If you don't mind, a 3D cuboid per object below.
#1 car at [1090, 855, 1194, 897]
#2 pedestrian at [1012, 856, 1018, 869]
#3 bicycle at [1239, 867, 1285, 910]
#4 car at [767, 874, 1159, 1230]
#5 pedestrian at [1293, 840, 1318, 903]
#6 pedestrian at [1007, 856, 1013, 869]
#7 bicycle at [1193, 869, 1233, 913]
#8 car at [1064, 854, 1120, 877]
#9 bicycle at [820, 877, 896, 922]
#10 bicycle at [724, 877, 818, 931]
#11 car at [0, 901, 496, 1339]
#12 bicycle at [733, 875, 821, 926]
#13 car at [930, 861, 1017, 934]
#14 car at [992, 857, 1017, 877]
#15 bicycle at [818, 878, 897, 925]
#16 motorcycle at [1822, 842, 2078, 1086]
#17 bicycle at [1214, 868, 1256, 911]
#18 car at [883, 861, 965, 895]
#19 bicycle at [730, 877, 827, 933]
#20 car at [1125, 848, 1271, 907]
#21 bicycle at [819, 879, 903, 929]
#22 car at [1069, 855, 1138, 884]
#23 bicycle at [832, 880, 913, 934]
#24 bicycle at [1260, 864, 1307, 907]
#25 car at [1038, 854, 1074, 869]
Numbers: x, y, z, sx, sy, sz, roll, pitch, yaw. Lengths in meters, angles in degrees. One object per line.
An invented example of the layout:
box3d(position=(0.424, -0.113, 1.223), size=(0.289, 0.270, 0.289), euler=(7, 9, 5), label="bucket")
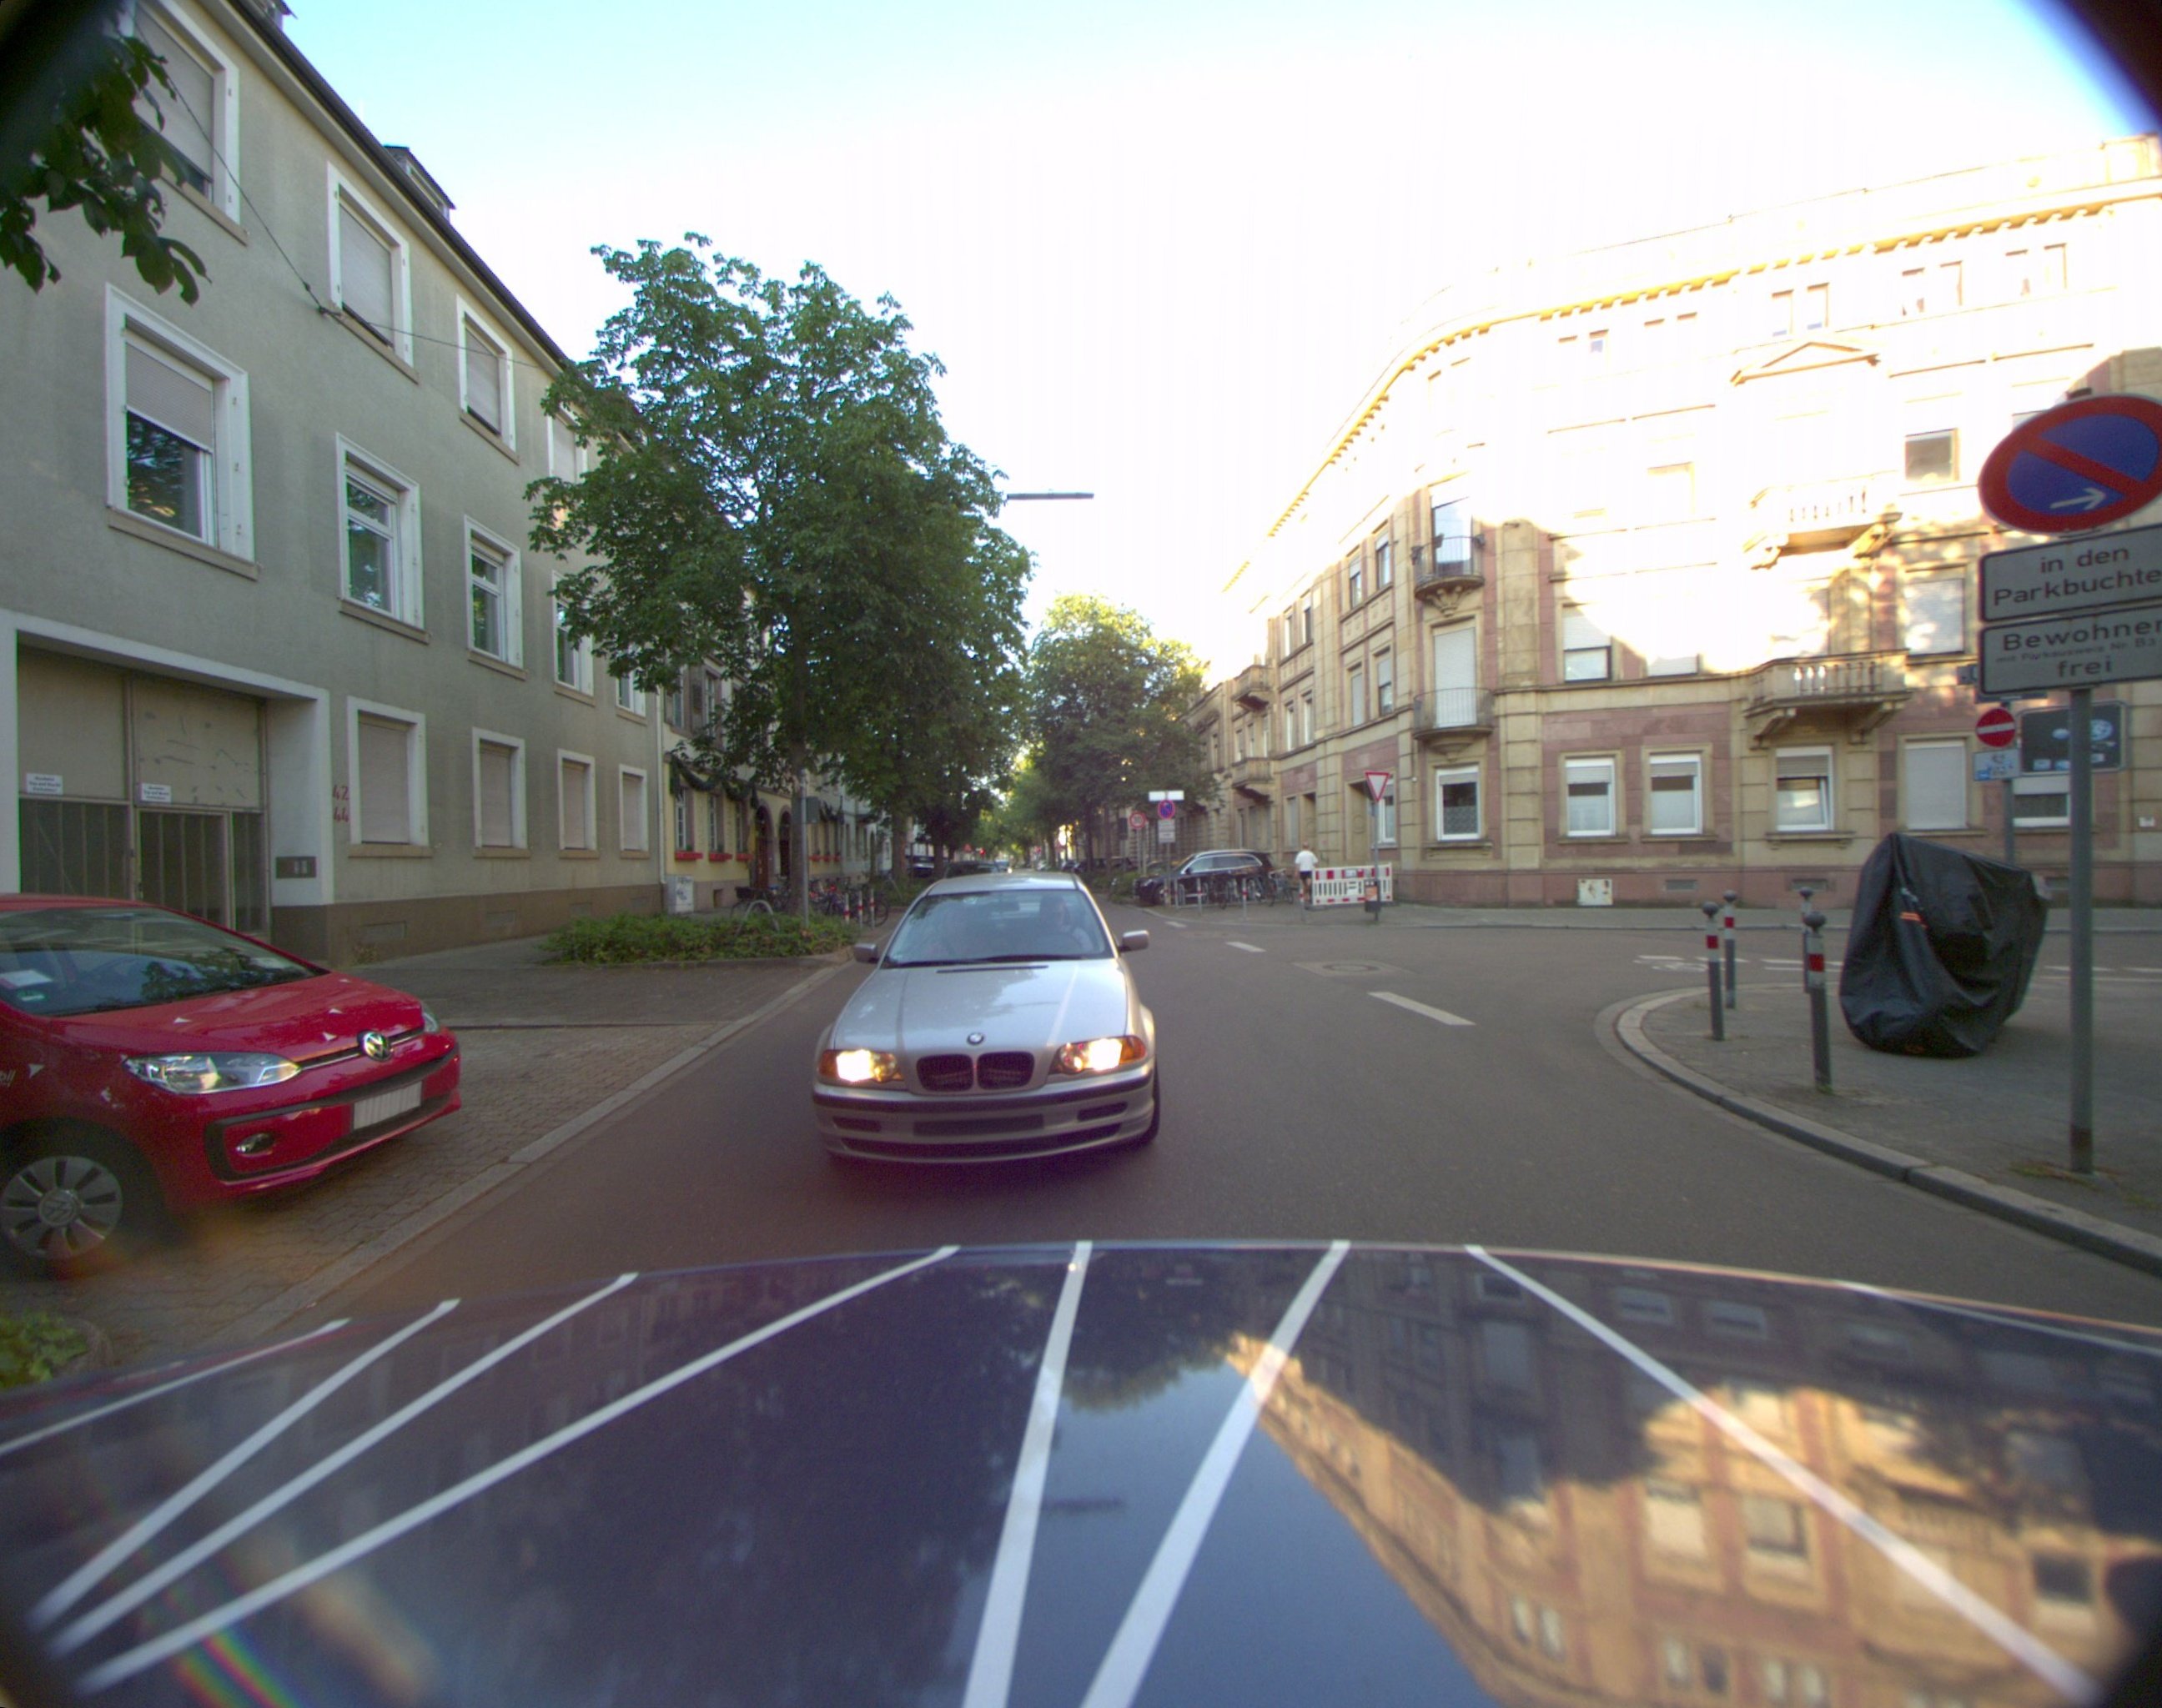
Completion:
box3d(position=(2.524, 0.902, 32.093), size=(4.243, 1.668, 1.742), euler=(-1, 0, -1), label="car")
box3d(position=(-9.309, 1.188, 106.846), size=(0.712, 1.843, 0.676), euler=(-1, 1, -13), label="pedestrian")
box3d(position=(5.171, 0.963, 21.775), size=(0.562, 1.144, 2.038), euler=(-1, 0, -8), label="bicycle")
box3d(position=(-0.495, 0.943, 5.598), size=(1.711, 1.433, 4.436), euler=(-1, 0, 1), label="car")
box3d(position=(6.590, 0.510, 22.292), size=(0.572, 1.797, 0.651), euler=(-1, 1, 8), label="pedestrian")
box3d(position=(-9.999, 1.229, 107.485), size=(0.712, 1.843, 0.676), euler=(-1, 1, -13), label="pedestrian")
box3d(position=(3.739, 1.029, 21.665), size=(0.562, 1.144, 2.038), euler=(-1, 0, -6), label="bicycle")
box3d(position=(0.857, 0.875, 60.856), size=(4.245, 1.749, 1.741), euler=(-1, 0, -5), label="car")
box3d(position=(-6.374, 1.290, 21.795), size=(2.029, 1.220, 0.535), euler=(-1, 0, -11), label="bicycle")
box3d(position=(-7.499, 1.185, 18.457), size=(2.030, 1.220, 0.535), euler=(-1, 0, -16), label="bicycle")
box3d(position=(-5.171, 1.045, 3.435), size=(3.621, 1.468, 1.663), euler=(-1, 0, -7), label="car")
box3d(position=(-7.820, 1.185, 19.603), size=(2.029, 1.220, 0.535), euler=(-1, 0, -13), label="bicycle")
box3d(position=(-2.563, 0.986, 18.981), size=(1.806, 1.543, 3.998), euler=(-1, 0, -4), label="car")
box3d(position=(-6.184, 1.038, 61.760), size=(1.806, 1.543, 3.999), euler=(-1, 0, -3), label="car")
box3d(position=(-6.133, 1.290, 20.925), size=(2.029, 1.220, 0.535), euler=(-1, 0, -11), label="bicycle")
box3d(position=(6.492, 0.679, 5.643), size=(2.286, 1.496, 0.816), euler=(-1, 1, -30), label="motorcycle")
box3d(position=(4.377, 0.985, 21.734), size=(0.562, 1.144, 2.038), euler=(-1, 0, -6), label="bicycle")
box3d(position=(-8.561, 1.281, 41.675), size=(4.245, 1.729, 1.741), euler=(-1, 0, -6), label="car")
box3d(position=(-7.039, 1.175, 17.754), size=(2.030, 1.220, 0.535), euler=(-1, 0, -16), label="bicycle")
box3d(position=(3.719, 0.739, 24.666), size=(4.423, 1.771, 1.741), euler=(-1, 0, -2), label="car")
box3d(position=(-5.666, 1.286, 19.644), size=(2.029, 1.220, 0.535), euler=(-1, 0, -11), label="bicycle")
box3d(position=(1.403, 0.964, 48.386), size=(4.245, 1.749, 1.741), euler=(-1, 0, -5), label="car")
box3d(position=(-5.042, 1.260, 18.404), size=(1.849, 1.220, 0.535), euler=(-1, 0, -16), label="bicycle")
box3d(position=(5.789, 0.883, 21.825), size=(0.562, 1.144, 2.038), euler=(-1, 0, -8), label="bicycle")
box3d(position=(-3.023, 0.916, 92.541), size=(4.245, 1.749, 1.741), euler=(-1, 0, -5), label="car")
